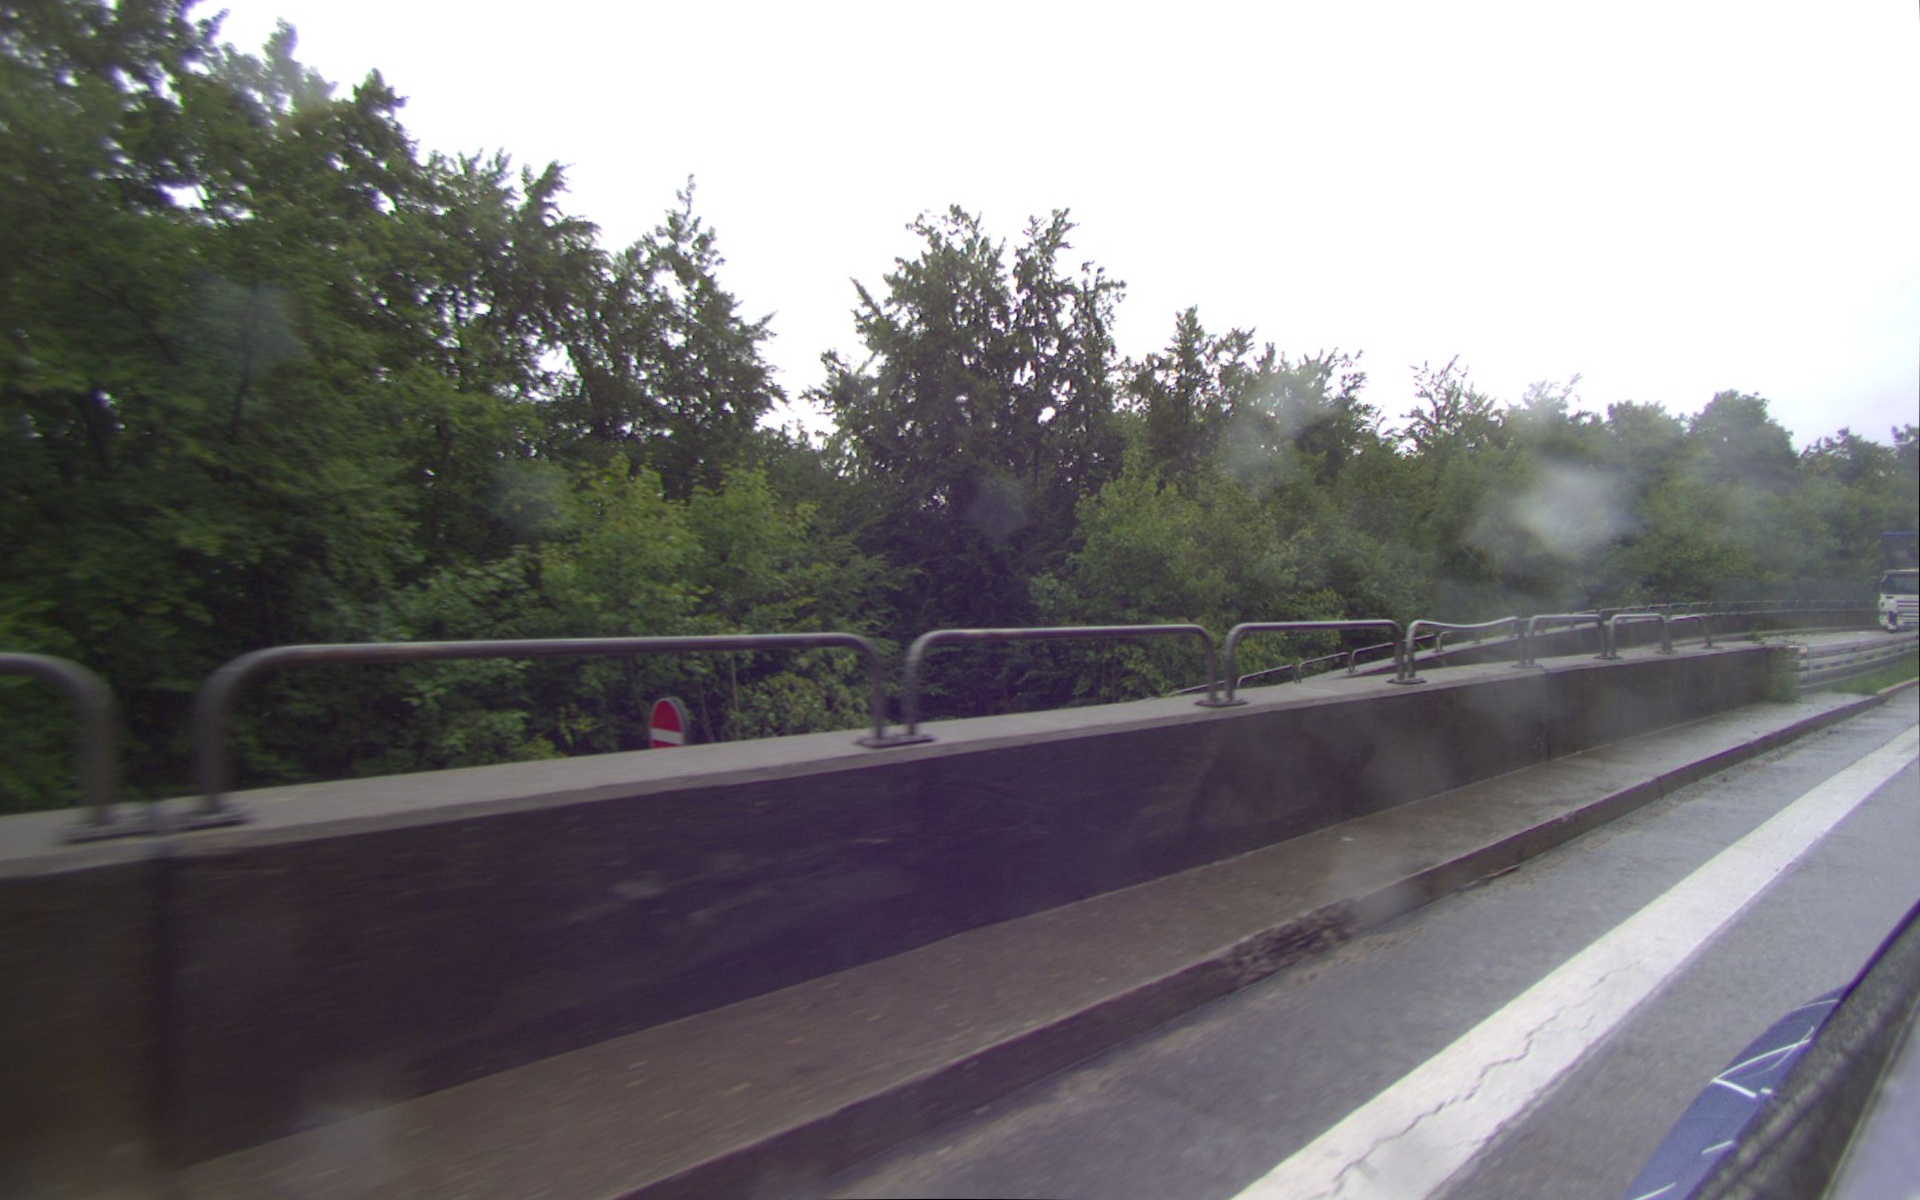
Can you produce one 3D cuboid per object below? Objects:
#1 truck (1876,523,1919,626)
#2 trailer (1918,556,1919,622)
[{"bbox_3d":[42.985,-1.081,43.911,6.745,4.297,2.909,-1,2,-31],"label":"truck"},{"bbox_3d":[50.428,-1.167,48.472,14.407,4.297,2.905,-1,2,-32],"label":"trailer"}]
